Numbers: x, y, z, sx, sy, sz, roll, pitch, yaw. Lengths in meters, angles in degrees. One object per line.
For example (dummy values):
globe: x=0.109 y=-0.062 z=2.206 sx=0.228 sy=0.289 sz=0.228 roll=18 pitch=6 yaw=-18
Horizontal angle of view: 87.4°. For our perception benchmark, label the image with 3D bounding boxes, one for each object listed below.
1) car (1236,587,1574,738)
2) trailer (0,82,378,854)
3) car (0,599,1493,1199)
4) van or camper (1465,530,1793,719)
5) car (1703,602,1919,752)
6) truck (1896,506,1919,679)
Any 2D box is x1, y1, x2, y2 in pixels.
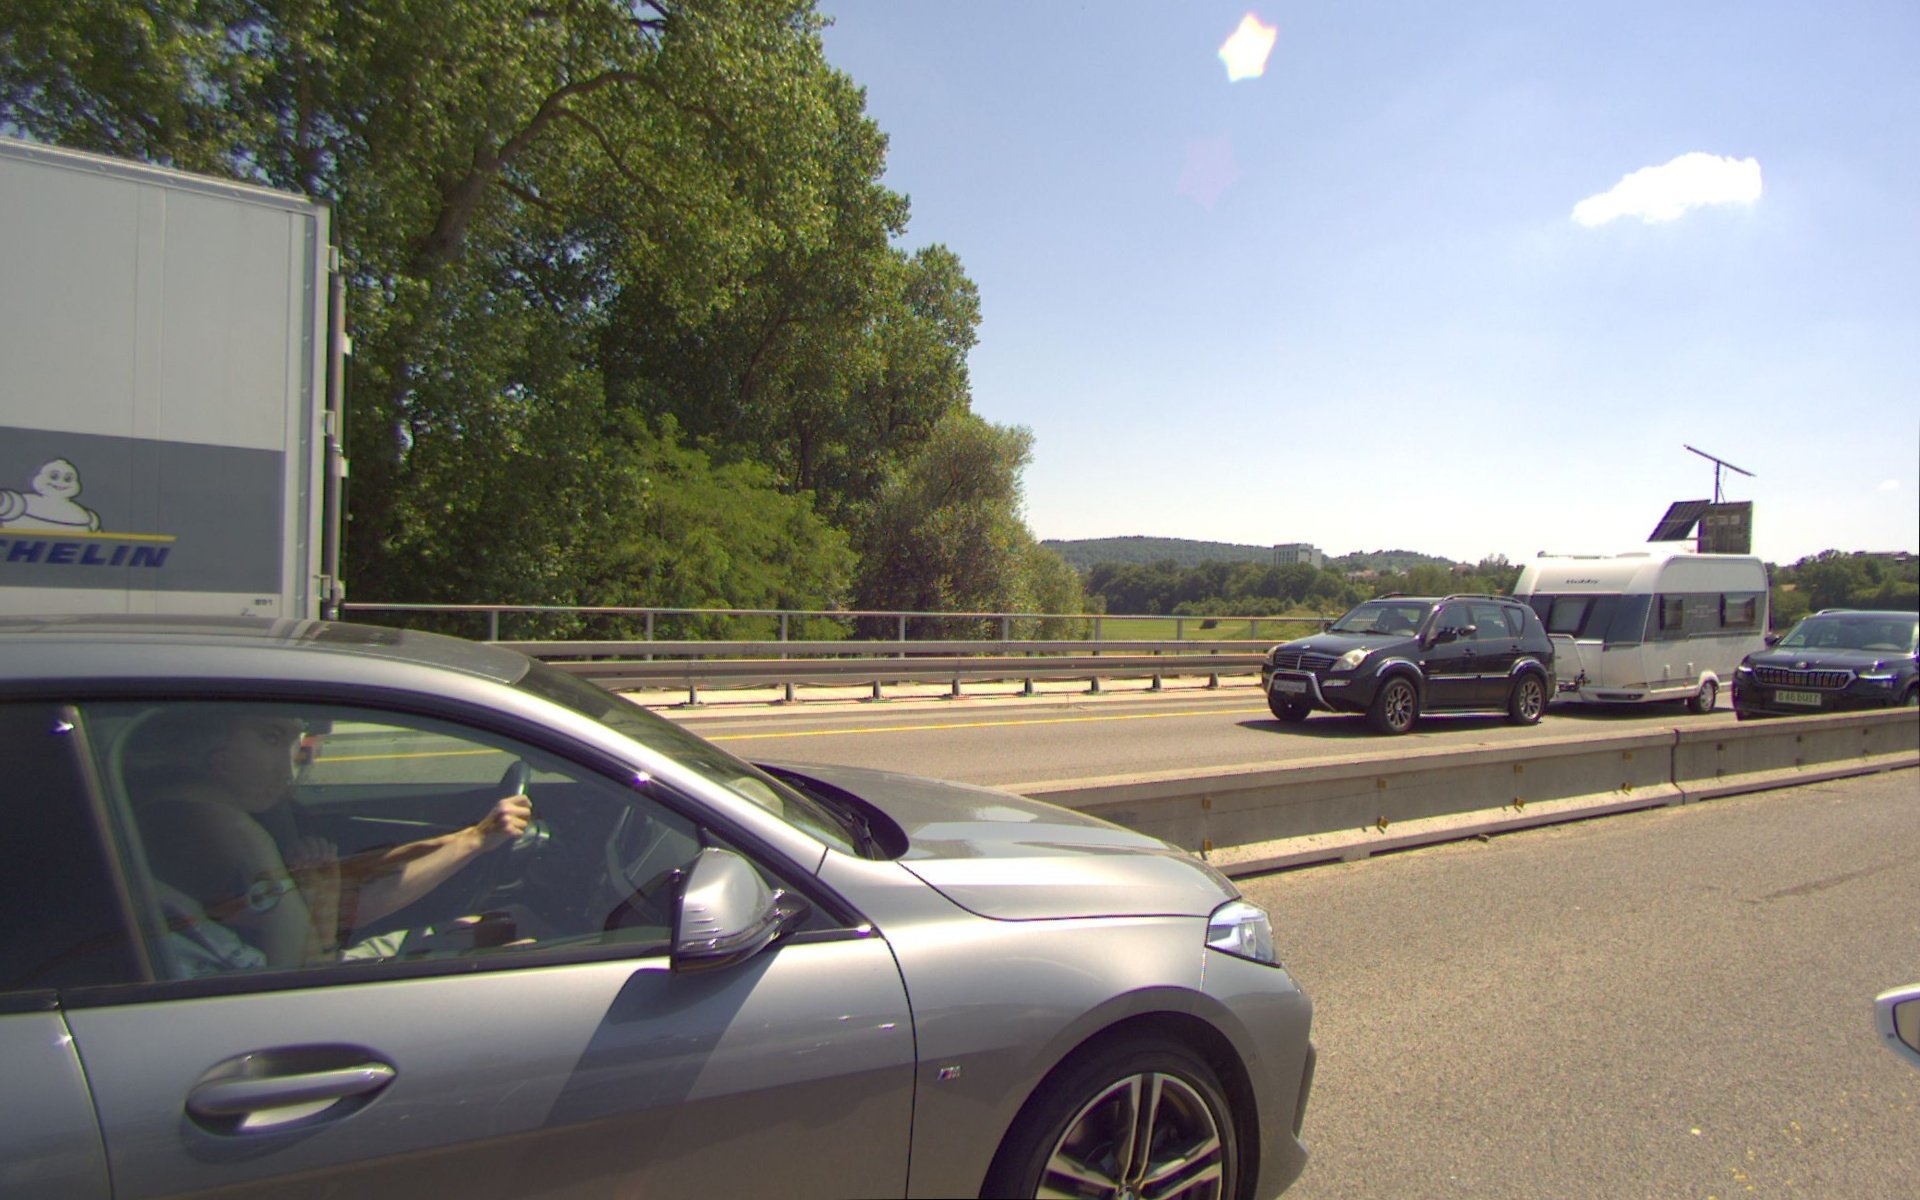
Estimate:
car: x=6.118 y=0.779 z=13.650 sx=4.734 sy=1.757 sz=1.759 roll=1 pitch=-1 yaw=-30
trailer: x=-9.443 y=-0.777 z=4.625 sx=11.661 sy=4.232 sz=2.792 roll=1 pitch=0 yaw=-31
car: x=-1.142 y=0.751 z=2.103 sx=4.687 sy=1.471 sz=1.842 roll=1 pitch=0 yaw=-31
van or camper: x=11.284 y=0.405 z=16.903 sx=5.179 sy=2.734 sz=2.493 roll=1 pitch=0 yaw=-29
car: x=12.434 y=0.963 z=13.770 sx=4.561 sy=1.710 sz=1.839 roll=1 pitch=1 yaw=-29
truck: x=29.070 y=-0.122 z=27.447 sx=7.016 sy=4.597 sz=3.065 roll=1 pitch=0 yaw=-29
